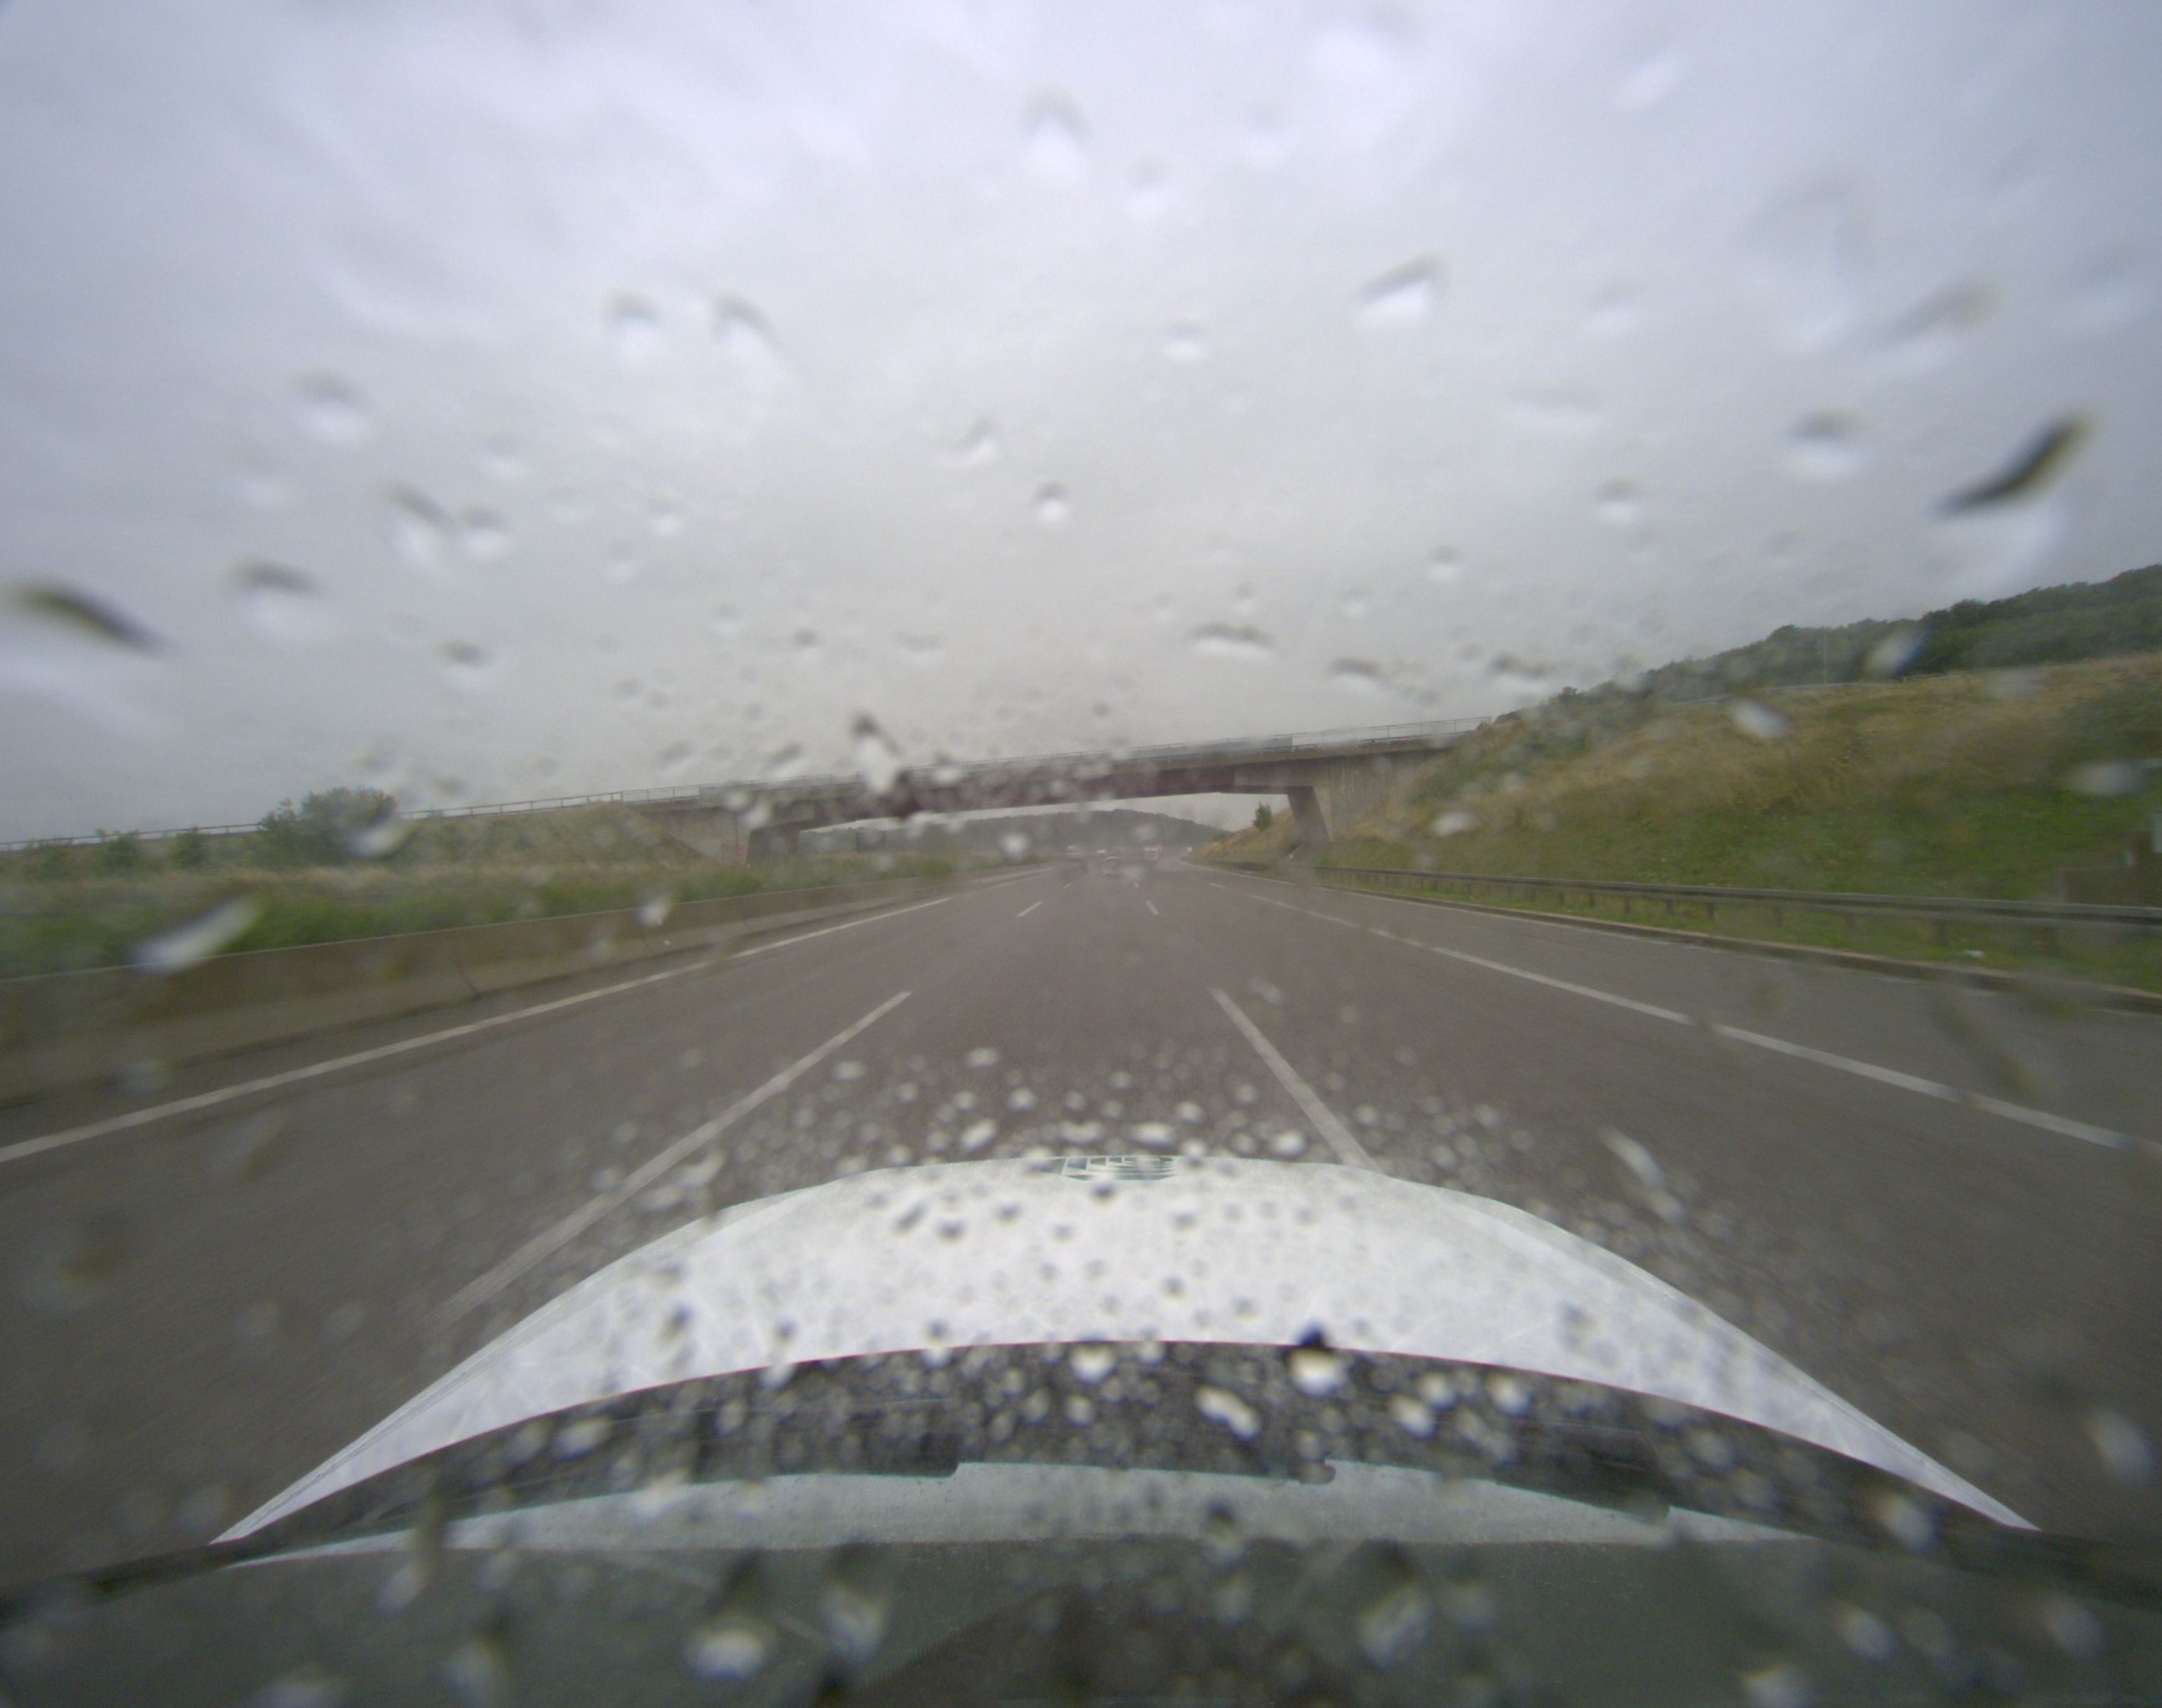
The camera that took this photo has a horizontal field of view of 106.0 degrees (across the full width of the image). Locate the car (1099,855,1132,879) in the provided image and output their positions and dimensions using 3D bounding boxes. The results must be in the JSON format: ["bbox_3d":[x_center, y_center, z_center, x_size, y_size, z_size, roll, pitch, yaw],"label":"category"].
[{"bbox_3d":[2.165,0.829,51.684,1.862,1.463,3.998,-1,-1,-1],"label":"car"}]

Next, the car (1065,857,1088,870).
[{"bbox_3d":[-0.377,0.851,71.112,1.817,1.156,4.214,-1,-1,1],"label":"car"}]

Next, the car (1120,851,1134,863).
[{"bbox_3d":[6.739,0.423,118.454,1.984,1.618,4.005,-1,0,4],"label":"car"}]

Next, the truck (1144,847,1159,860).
[{"bbox_3d":[12.550,-0.036,144.834,2.395,2.252,4.701,-1,0,6],"label":"truck"}]

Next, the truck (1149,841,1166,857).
[{"bbox_3d":[18.265,-1.313,195.164,3.512,3.742,11.438,-1,1,4],"label":"truck"}]
